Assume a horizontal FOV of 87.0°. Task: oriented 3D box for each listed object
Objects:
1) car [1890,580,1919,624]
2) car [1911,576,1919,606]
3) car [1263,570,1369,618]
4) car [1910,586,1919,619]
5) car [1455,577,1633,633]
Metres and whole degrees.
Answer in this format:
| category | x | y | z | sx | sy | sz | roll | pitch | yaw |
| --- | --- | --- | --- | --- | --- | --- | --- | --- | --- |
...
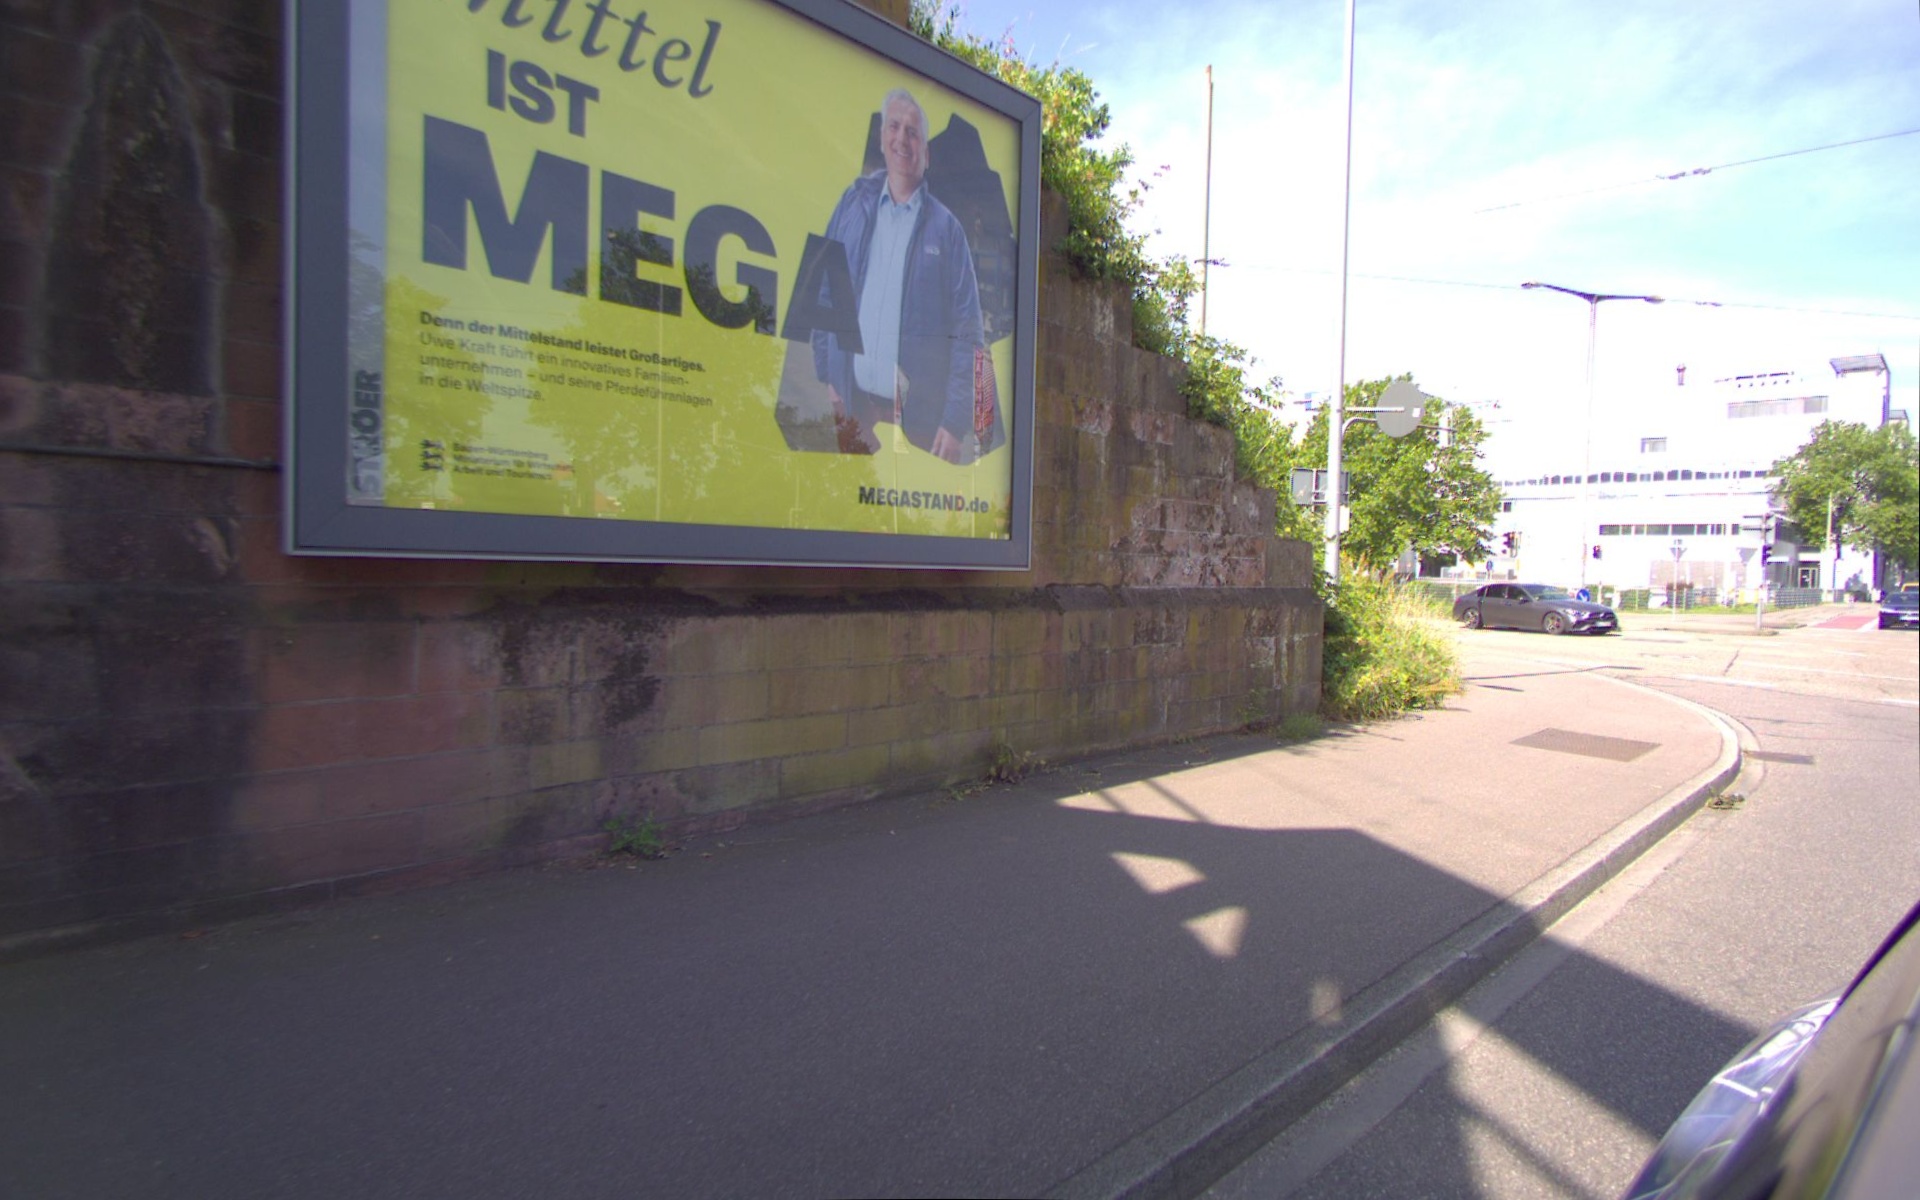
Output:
| category | x | y | z | sx | sy | sz | roll | pitch | yaw |
| --- | --- | --- | --- | --- | --- | --- | --- | --- | --- |
| car | 38.752 | 0.068 | 40.603 | 1.911 | 1.709 | 4.552 | 3 | 3 | 45 |
| car | 61.468 | -0.557 | 63.987 | 1.777 | 1.832 | 4.552 | 3 | 3 | 45 |
| car | 12.853 | -0.274 | 36.808 | 1.817 | 1.580 | 4.009 | 1 | 2 | -11 |
| car | 44.285 | 0.110 | 45.754 | 1.777 | 1.461 | 4.552 | 3 | 3 | 45 |
| car | 16.784 | 0.074 | 29.377 | 1.684 | 1.395 | 4.483 | -1 | 2 | -17 |
